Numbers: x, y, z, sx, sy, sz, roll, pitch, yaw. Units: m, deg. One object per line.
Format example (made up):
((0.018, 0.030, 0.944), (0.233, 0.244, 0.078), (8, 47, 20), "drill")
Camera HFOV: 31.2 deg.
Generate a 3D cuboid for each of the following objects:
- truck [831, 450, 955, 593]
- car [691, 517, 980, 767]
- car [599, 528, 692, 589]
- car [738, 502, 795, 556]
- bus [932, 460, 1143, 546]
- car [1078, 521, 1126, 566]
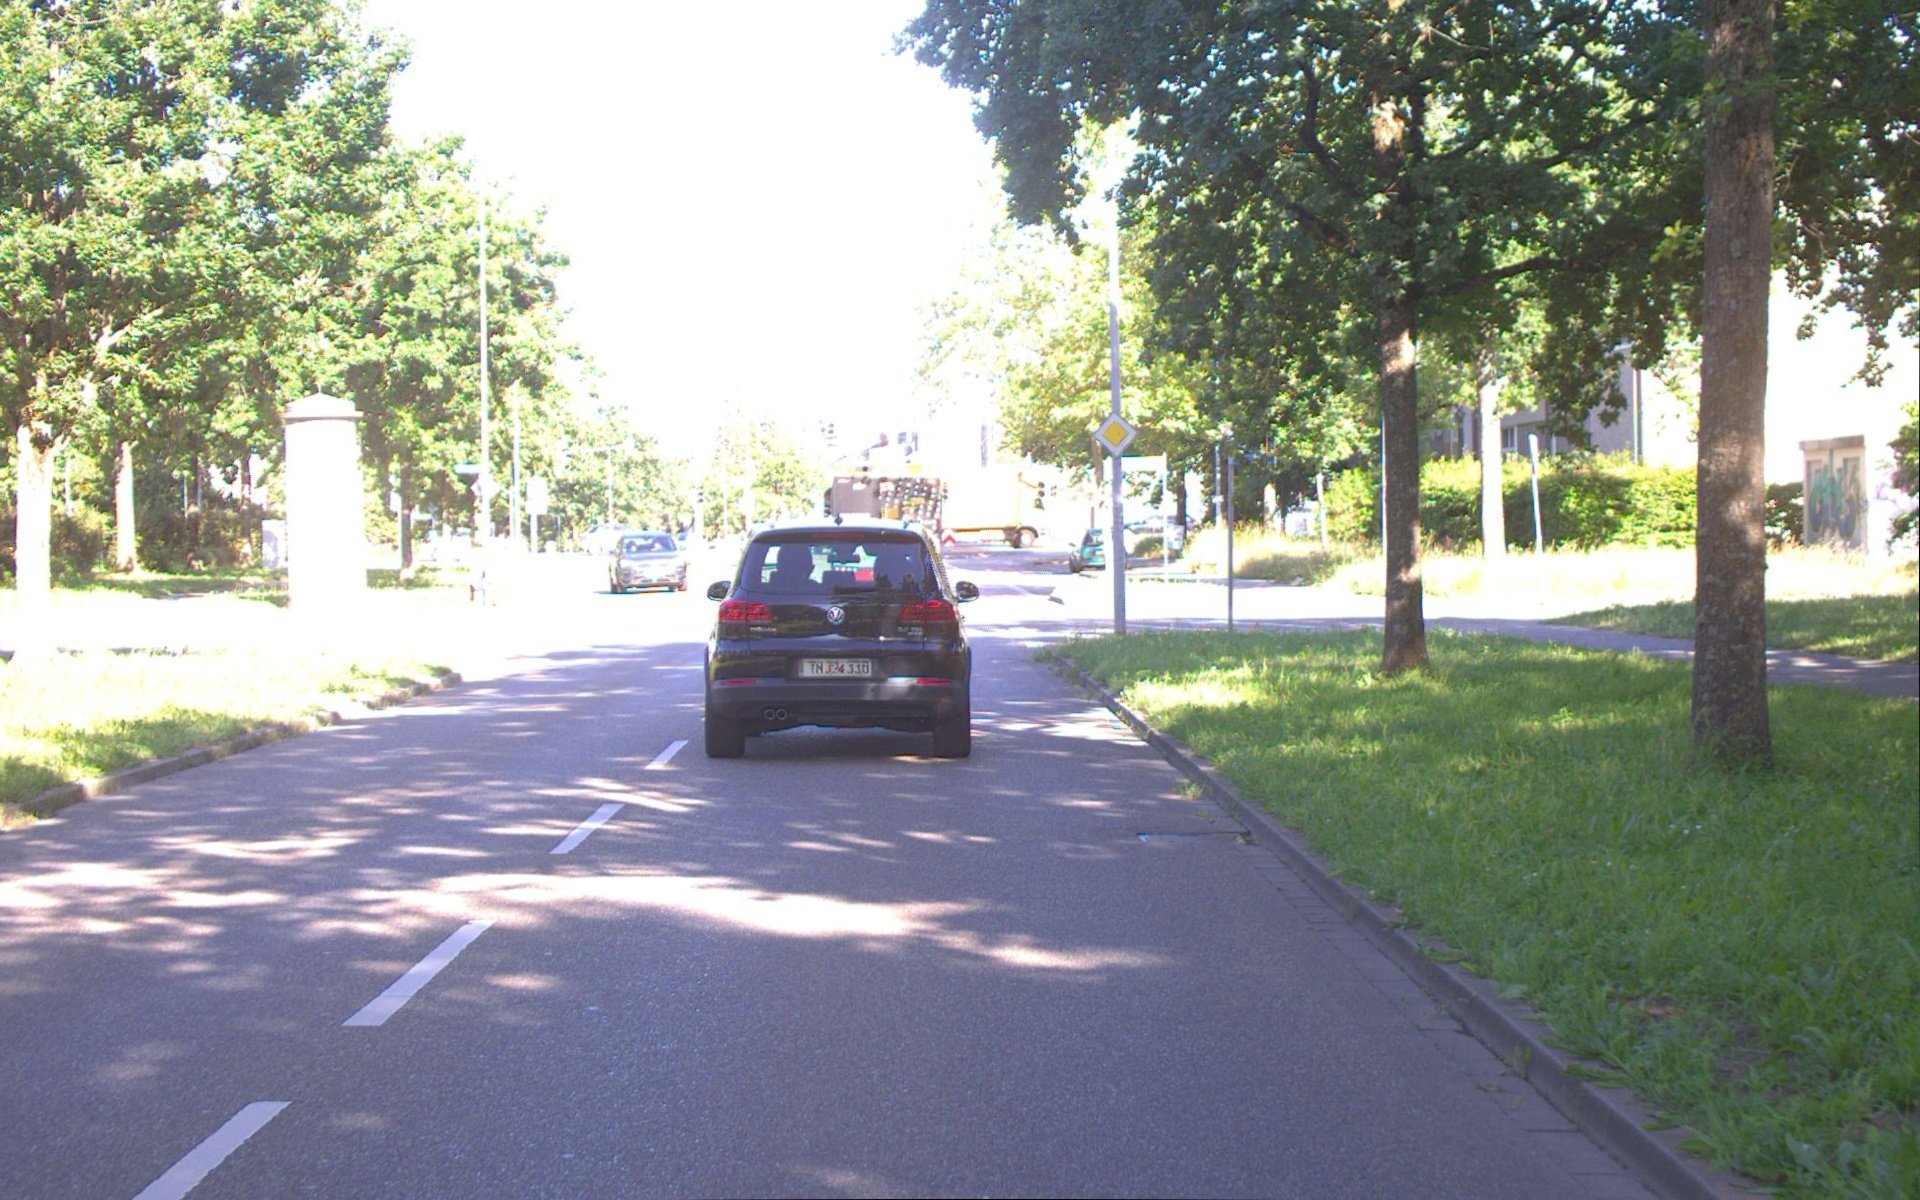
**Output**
((-1.541, -1.916, 82.469), (2.512, 3.232, 8.152), (-1, 2, 2), "truck")
((-0.820, 0.231, 24.876), (1.782, 1.628, 4.000), (1, 2, 2), "car")
((-7.932, -1.069, 87.015), (1.993, 1.450, 4.000), (-1, 2, -1), "car")
((-7.308, -2.685, 129.491), (1.993, 2.007, 4.001), (0, 2, -5), "car")
((3.486, -4.386, 156.270), (9.101, 3.765, 3.388), (0, 2, -9), "bus")
((4.572, -1.833, 110.741), (1.452, 1.401, 2.856), (1, 2, 1), "car")
